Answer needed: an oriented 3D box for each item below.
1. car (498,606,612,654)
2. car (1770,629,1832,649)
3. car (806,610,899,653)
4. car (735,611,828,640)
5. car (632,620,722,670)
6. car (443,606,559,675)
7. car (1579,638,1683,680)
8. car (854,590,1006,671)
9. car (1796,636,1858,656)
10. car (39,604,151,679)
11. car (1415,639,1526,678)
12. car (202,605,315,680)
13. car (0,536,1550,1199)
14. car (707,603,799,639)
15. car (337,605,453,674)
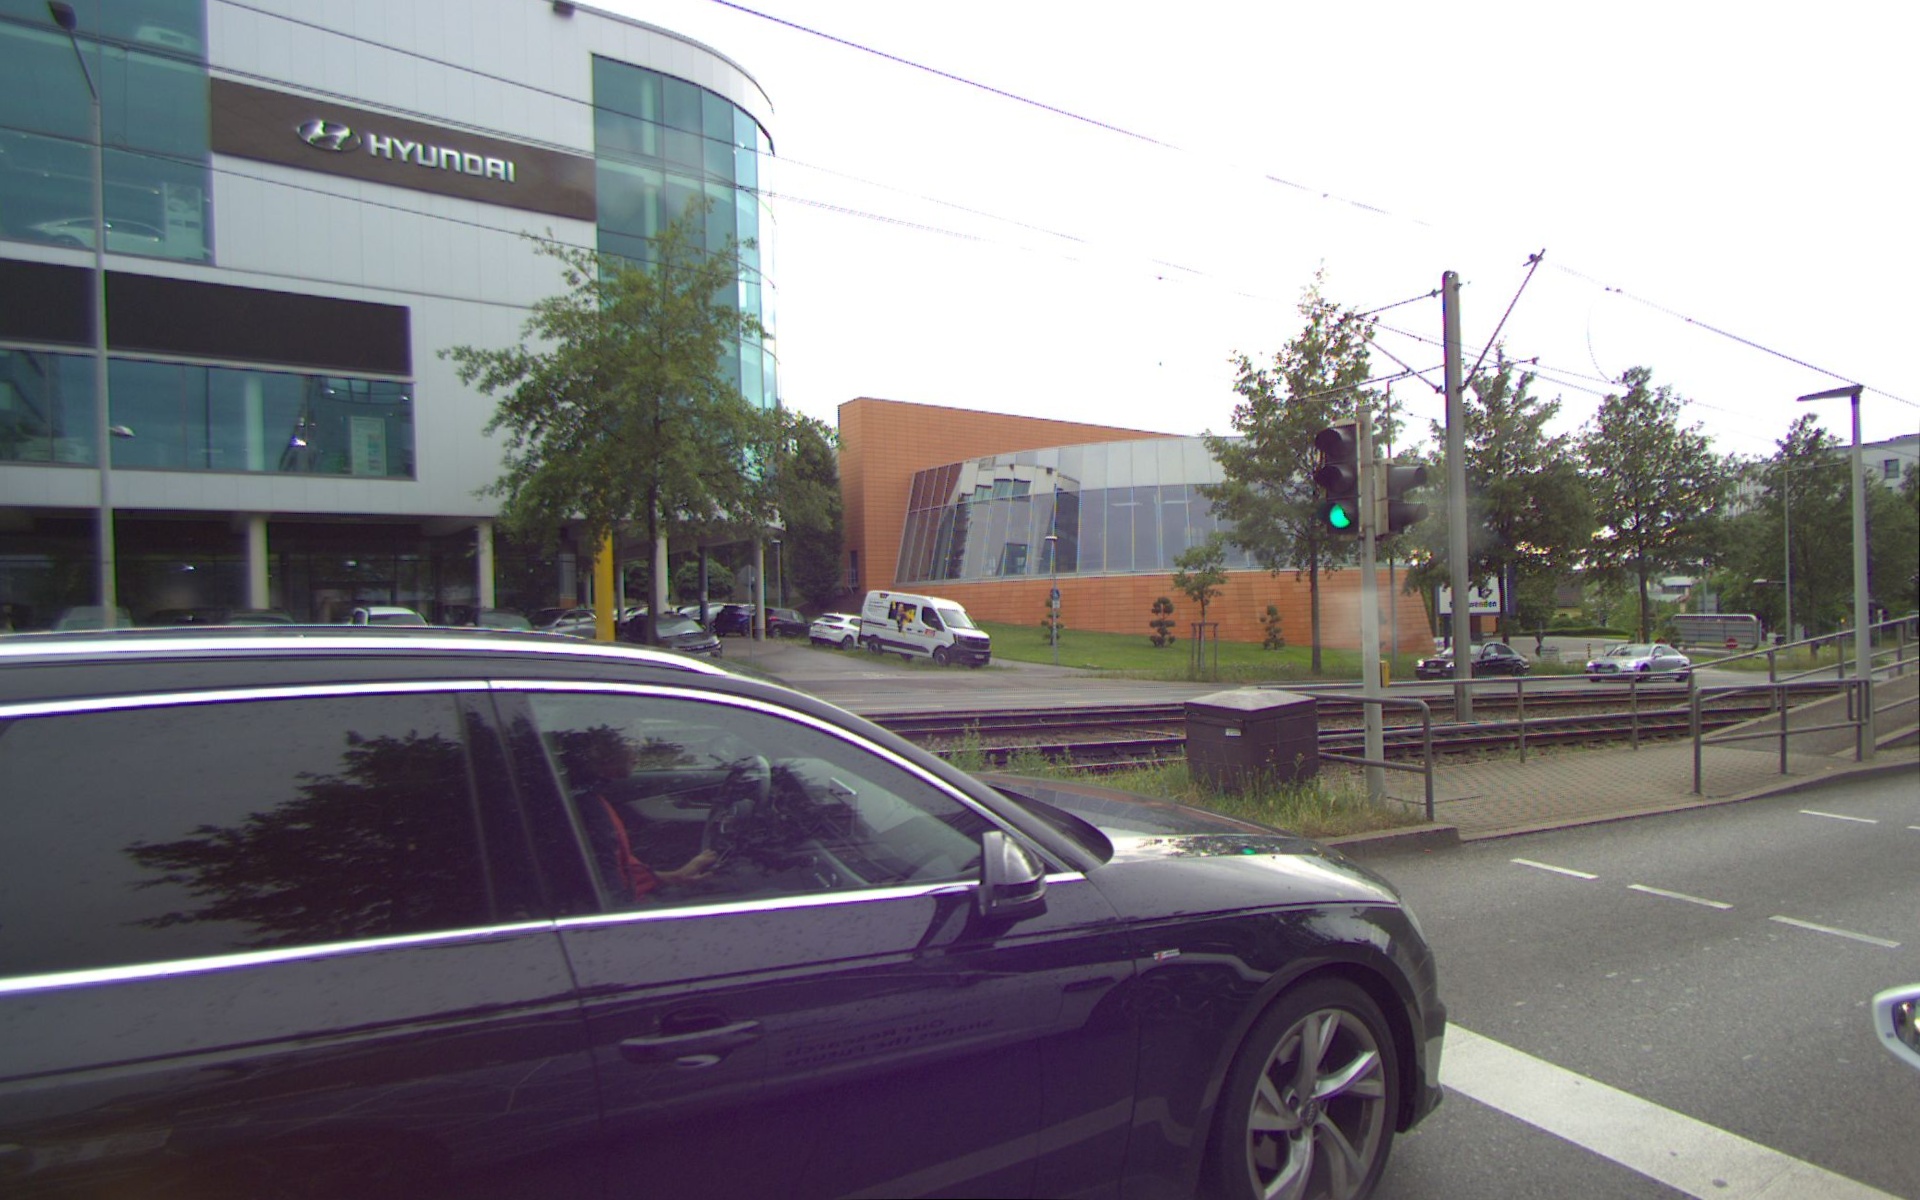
[{"bbox_3d":[-13.910,1.019,34.697,1.691,1.572,3.588,1,-1,20],"label":"car"},{"bbox_3d":[62.373,2.876,74.559,1.408,1.405,3.372,1,-1,-13],"label":"car"},{"bbox_3d":[-4.414,1.286,41.508,1.703,1.688,3.734,1,-1,38],"label":"car"},{"bbox_3d":[-8.286,1.178,46.866,1.969,1.297,3.982,0,-1,39],"label":"car"},{"bbox_3d":[-8.832,1.365,31.215,1.565,1.409,3.619,1,-1,-36],"label":"car"},{"bbox_3d":[-13.405,1.123,29.217,1.984,1.637,4.324,2,1,-40],"label":"car"},{"bbox_3d":[24.140,2.109,36.115,3.835,1.455,1.642,2,-3,-31],"label":"car"},{"bbox_3d":[-1.195,1.048,37.457,5.544,2.616,2.392,3,1,43],"label":"car"},{"bbox_3d":[65.677,3.488,76.163,1.408,1.405,3.372,1,-1,-13],"label":"car"},{"bbox_3d":[-20.953,0.955,24.427,1.917,1.479,3.974,2,1,-40],"label":"car"},{"bbox_3d":[18.100,2.050,35.589,3.922,1.253,1.642,1,-1,-30],"label":"car"},{"bbox_3d":[-18.043,1.033,25.751,1.984,1.571,4.324,2,1,-40],"label":"car"},{"bbox_3d":[-0.776,0.697,2.331,4.461,1.486,1.772,2,-1,-31],"label":"car"},{"bbox_3d":[-9.934,1.017,48.433,1.969,1.653,3.982,0,-1,39],"label":"car"},{"bbox_3d":[-15.584,1.033,27.604,1.984,1.571,4.324,2,1,-40],"label":"car"}]
